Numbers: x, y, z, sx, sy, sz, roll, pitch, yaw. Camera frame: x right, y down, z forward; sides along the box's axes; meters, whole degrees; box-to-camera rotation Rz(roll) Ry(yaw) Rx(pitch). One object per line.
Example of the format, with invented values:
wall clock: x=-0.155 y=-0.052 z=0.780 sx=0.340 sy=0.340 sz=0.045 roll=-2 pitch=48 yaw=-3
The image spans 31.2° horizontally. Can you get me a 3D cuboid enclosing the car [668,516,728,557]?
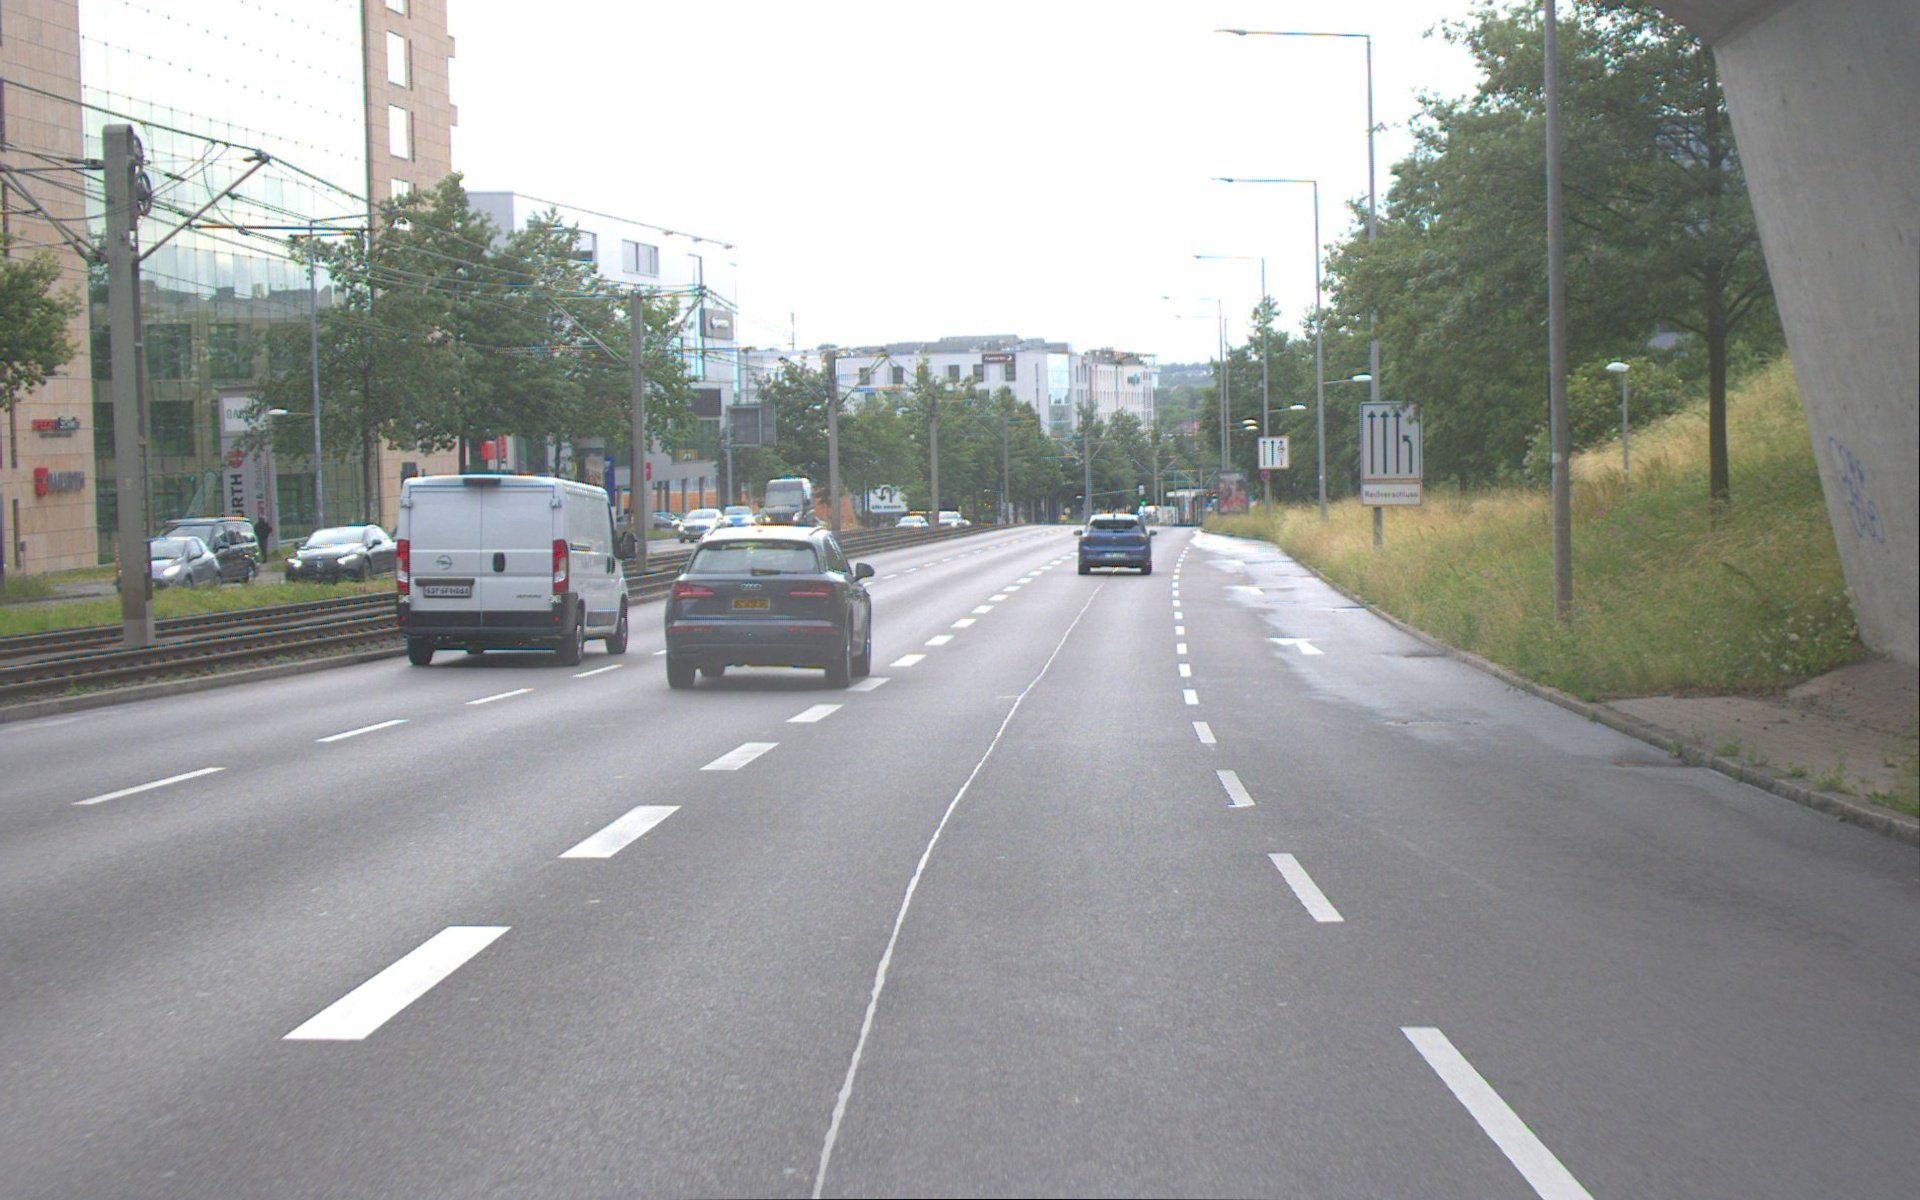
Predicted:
car: x=-11.645 y=-2.837 z=153.005 sx=1.938 sy=1.755 sz=4.809 roll=1 pitch=2 yaw=4

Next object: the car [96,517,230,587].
car: x=-18.399 y=-1.134 z=79.536 sx=1.810 sy=1.528 sz=4.274 roll=1 pitch=2 yaw=4

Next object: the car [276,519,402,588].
car: x=-14.831 y=-1.137 z=82.319 sx=1.810 sy=1.528 sz=4.869 roll=1 pitch=2 yaw=4

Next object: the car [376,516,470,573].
car: x=-15.988 y=-1.677 z=102.522 sx=1.810 sy=1.600 sz=4.490 roll=1 pitch=2 yaw=4

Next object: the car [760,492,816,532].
car: x=-7.757 y=-3.987 z=155.617 sx=1.938 sy=1.755 sz=4.809 roll=1 pitch=2 yaw=4

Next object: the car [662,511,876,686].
car: x=-1.933 y=-0.028 z=35.974 sx=1.922 sy=1.705 sz=4.098 roll=1 pitch=0 yaw=1

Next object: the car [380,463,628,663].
car: x=-5.462 y=-0.499 z=41.831 sx=2.268 sy=2.277 sz=4.760 roll=1 pitch=2 yaw=1

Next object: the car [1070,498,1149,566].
car: x=3.620 y=-1.666 z=83.913 sx=1.789 sy=1.585 sz=4.000 roll=-1 pitch=1 yaw=1
